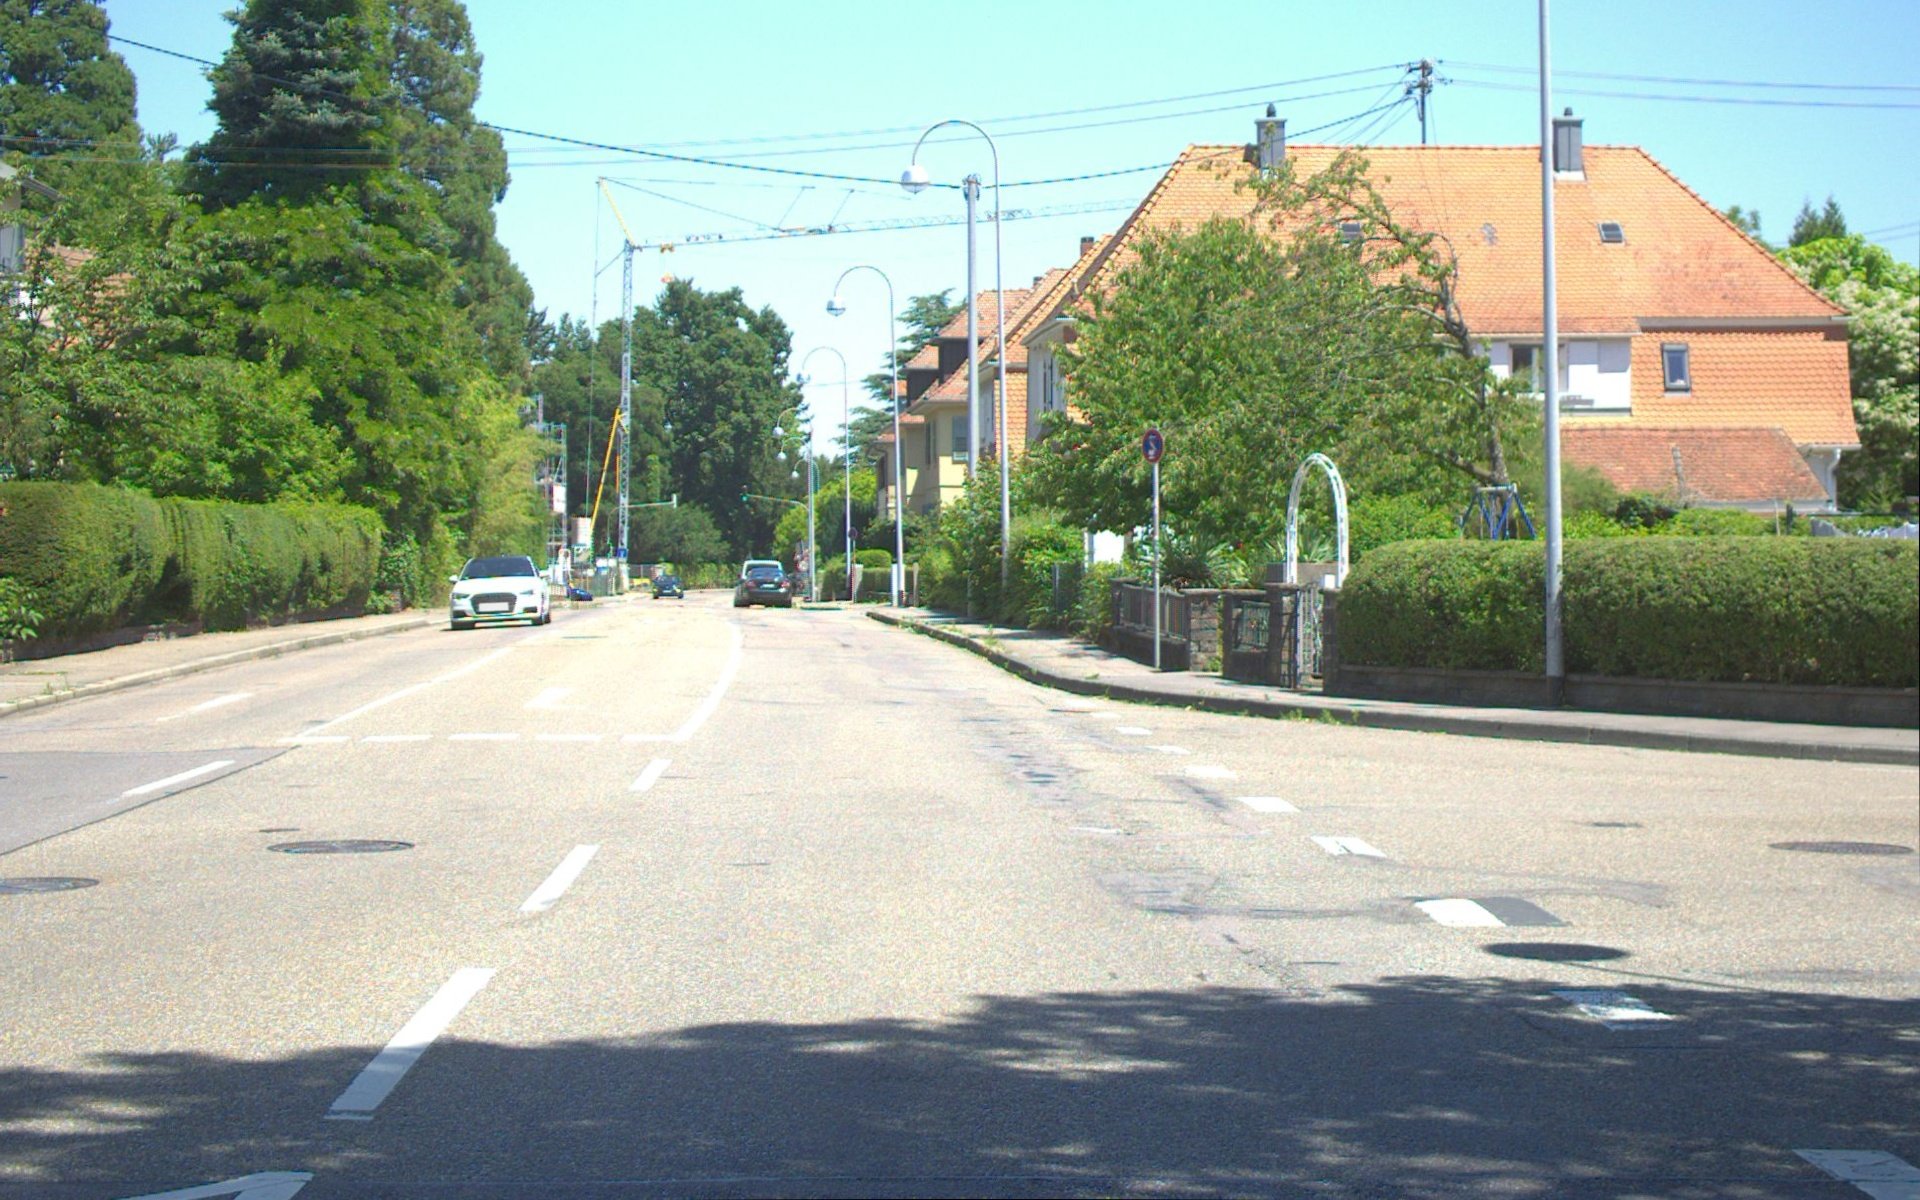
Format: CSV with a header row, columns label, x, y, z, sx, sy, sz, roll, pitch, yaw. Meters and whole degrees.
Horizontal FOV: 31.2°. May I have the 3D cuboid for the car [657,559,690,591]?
label,x,y,z,sx,sy,sz,roll,pitch,yaw
car,-17.783,-1.565,213.415,1.993,1.844,4.712,0,3,-5

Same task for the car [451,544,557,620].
label,x,y,z,sx,sy,sz,roll,pitch,yaw
car,-8.881,-0.379,67.193,1.680,1.368,4.207,-2,1,-3

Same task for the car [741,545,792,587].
label,x,y,z,sx,sy,sz,roll,pitch,yaw
car,-6.962,-1.208,123.510,1.692,1.414,4.551,0,0,-5
